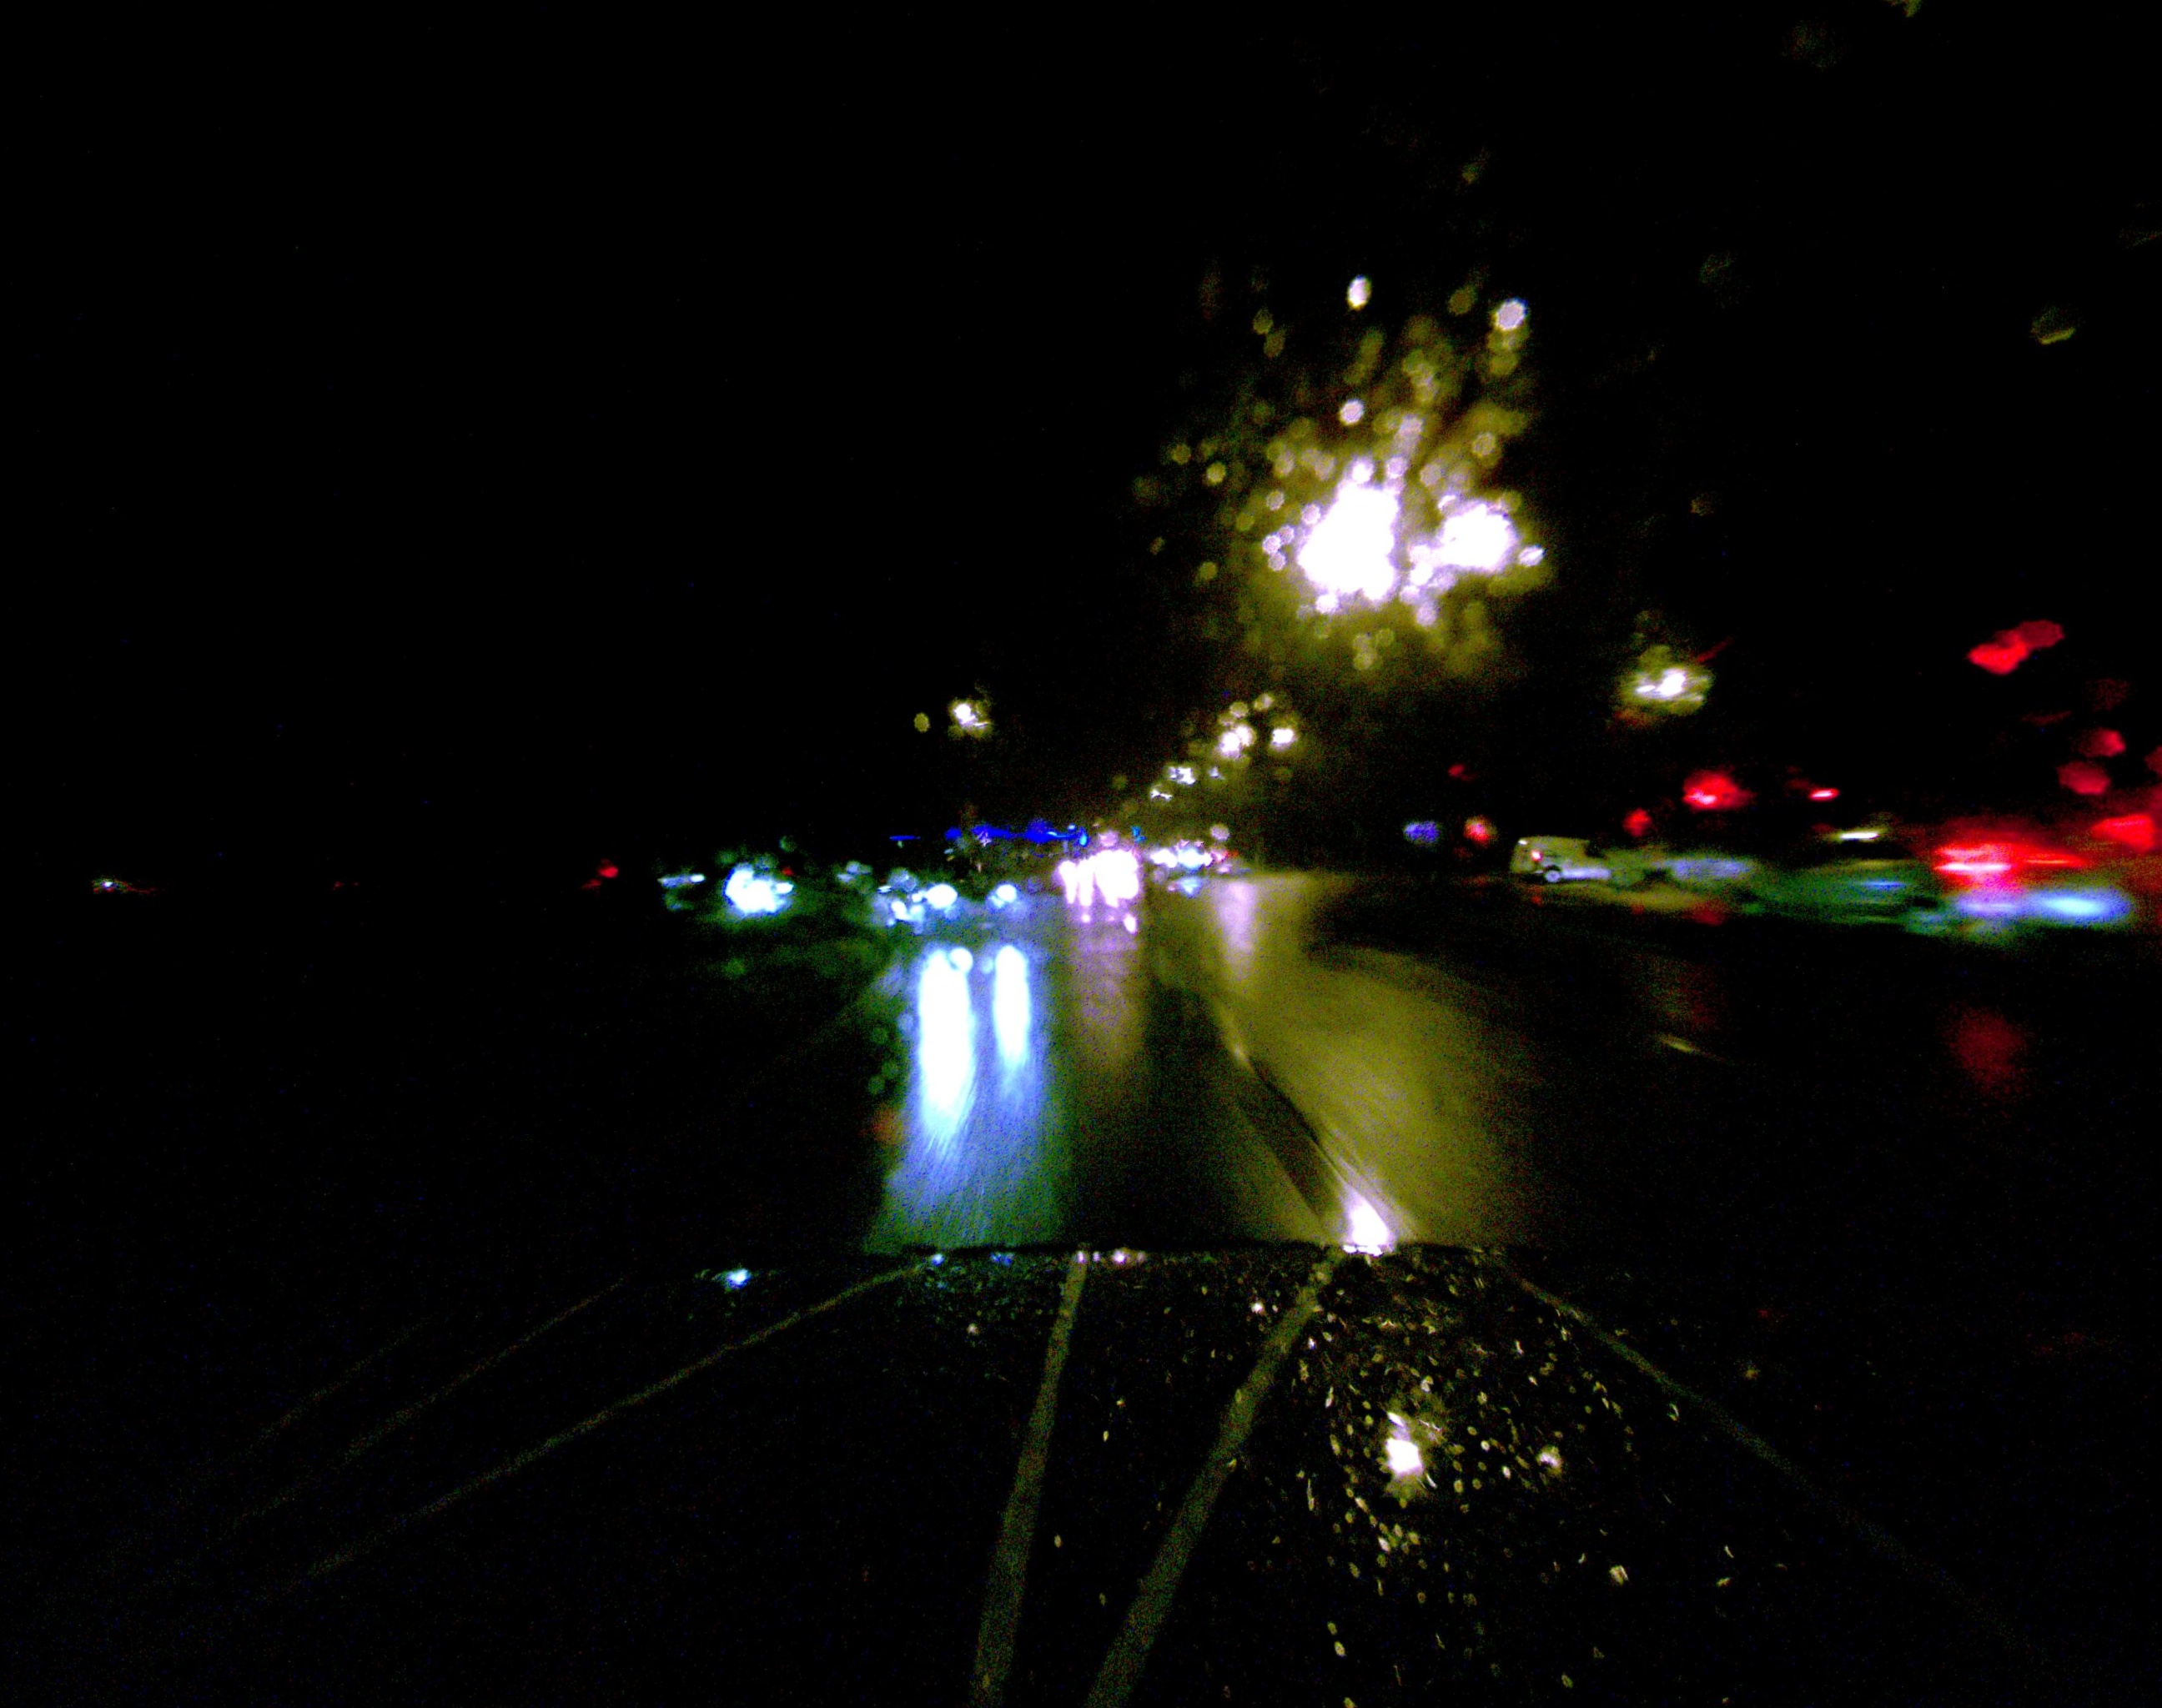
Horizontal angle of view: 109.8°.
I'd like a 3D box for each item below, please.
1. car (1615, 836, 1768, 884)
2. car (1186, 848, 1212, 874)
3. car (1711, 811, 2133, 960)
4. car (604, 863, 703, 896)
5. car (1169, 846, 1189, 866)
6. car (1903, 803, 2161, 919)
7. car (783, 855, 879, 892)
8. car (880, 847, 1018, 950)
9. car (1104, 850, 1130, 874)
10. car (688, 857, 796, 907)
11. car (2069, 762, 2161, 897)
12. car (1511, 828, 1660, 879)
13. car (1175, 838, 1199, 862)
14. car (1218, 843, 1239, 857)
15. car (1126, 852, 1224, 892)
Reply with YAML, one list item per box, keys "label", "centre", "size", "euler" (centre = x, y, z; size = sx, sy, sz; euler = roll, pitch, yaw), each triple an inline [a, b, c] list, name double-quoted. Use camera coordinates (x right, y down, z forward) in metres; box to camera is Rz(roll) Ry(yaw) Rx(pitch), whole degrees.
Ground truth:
- label: "car"
  centre: [25.905, 0.252, 32.406]
  size: [4.715, 1.783, 2.001]
  euler: [-2, 0, 7]
- label: "car"
  centre: [9.518, 0.549, 61.435]
  size: [1.666, 1.843, 4.146]
  euler: [-2, 2, 3]
- label: "car"
  centre: [11.603, 0.363, 10.969]
  size: [1.764, 1.715, 3.901]
  euler: [-2, 0, 0]
- label: "car"
  centre: [-20.676, 1.239, 36.783]
  size: [4.167, 1.436, 1.683]
  euler: [-2, 1, 15]
- label: "car"
  centre: [10.152, 0.192, 78.845]
  size: [1.711, 1.927, 3.609]
  euler: [-1, 2, 2]
- label: "car"
  centre: [14.780, 0.030, 10.898]
  size: [1.716, 1.479, 4.057]
  euler: [-1, 2, 4]
- label: "car"
  centre: [-12.521, 0.954, 38.148]
  size: [4.122, 1.696, 1.850]
  euler: [-2, 1, 11]
- label: "car"
  centre: [-3.068, 0.862, 16.885]
  size: [2.007, 1.914, 4.361]
  euler: [-2, 0, -23]
- label: "car"
  centre: [2.882, 0.625, 61.122]
  size: [1.957, 1.624, 4.258]
  euler: [-2, 2, 3]
- label: "car"
  centre: [-12.130, 0.995, 27.098]
  size: [3.976, 1.524, 1.691]
  euler: [-2, 3, 37]
- label: "car"
  centre: [22.411, -0.504, 13.910]
  size: [2.252, 2.694, 5.614]
  euler: [-2, 0, 14]
- label: "car"
  centre: [19.573, -0.050, 29.645]
  size: [4.552, 1.821, 1.783]
  euler: [-1, 2, 6]
- label: "car"
  centre: [9.768, -0.386, 70.054]
  size: [1.792, 2.013, 4.146]
  euler: [-2, 2, 3]
- label: "car"
  centre: [18.196, -0.559, 94.019]
  size: [1.835, 1.466, 4.035]
  euler: [-3, 3, 0]
- label: "car"
  centre: [4.247, 0.804, 34.120]
  size: [4.231, 1.585, 1.791]
  euler: [2, -3, 10]
